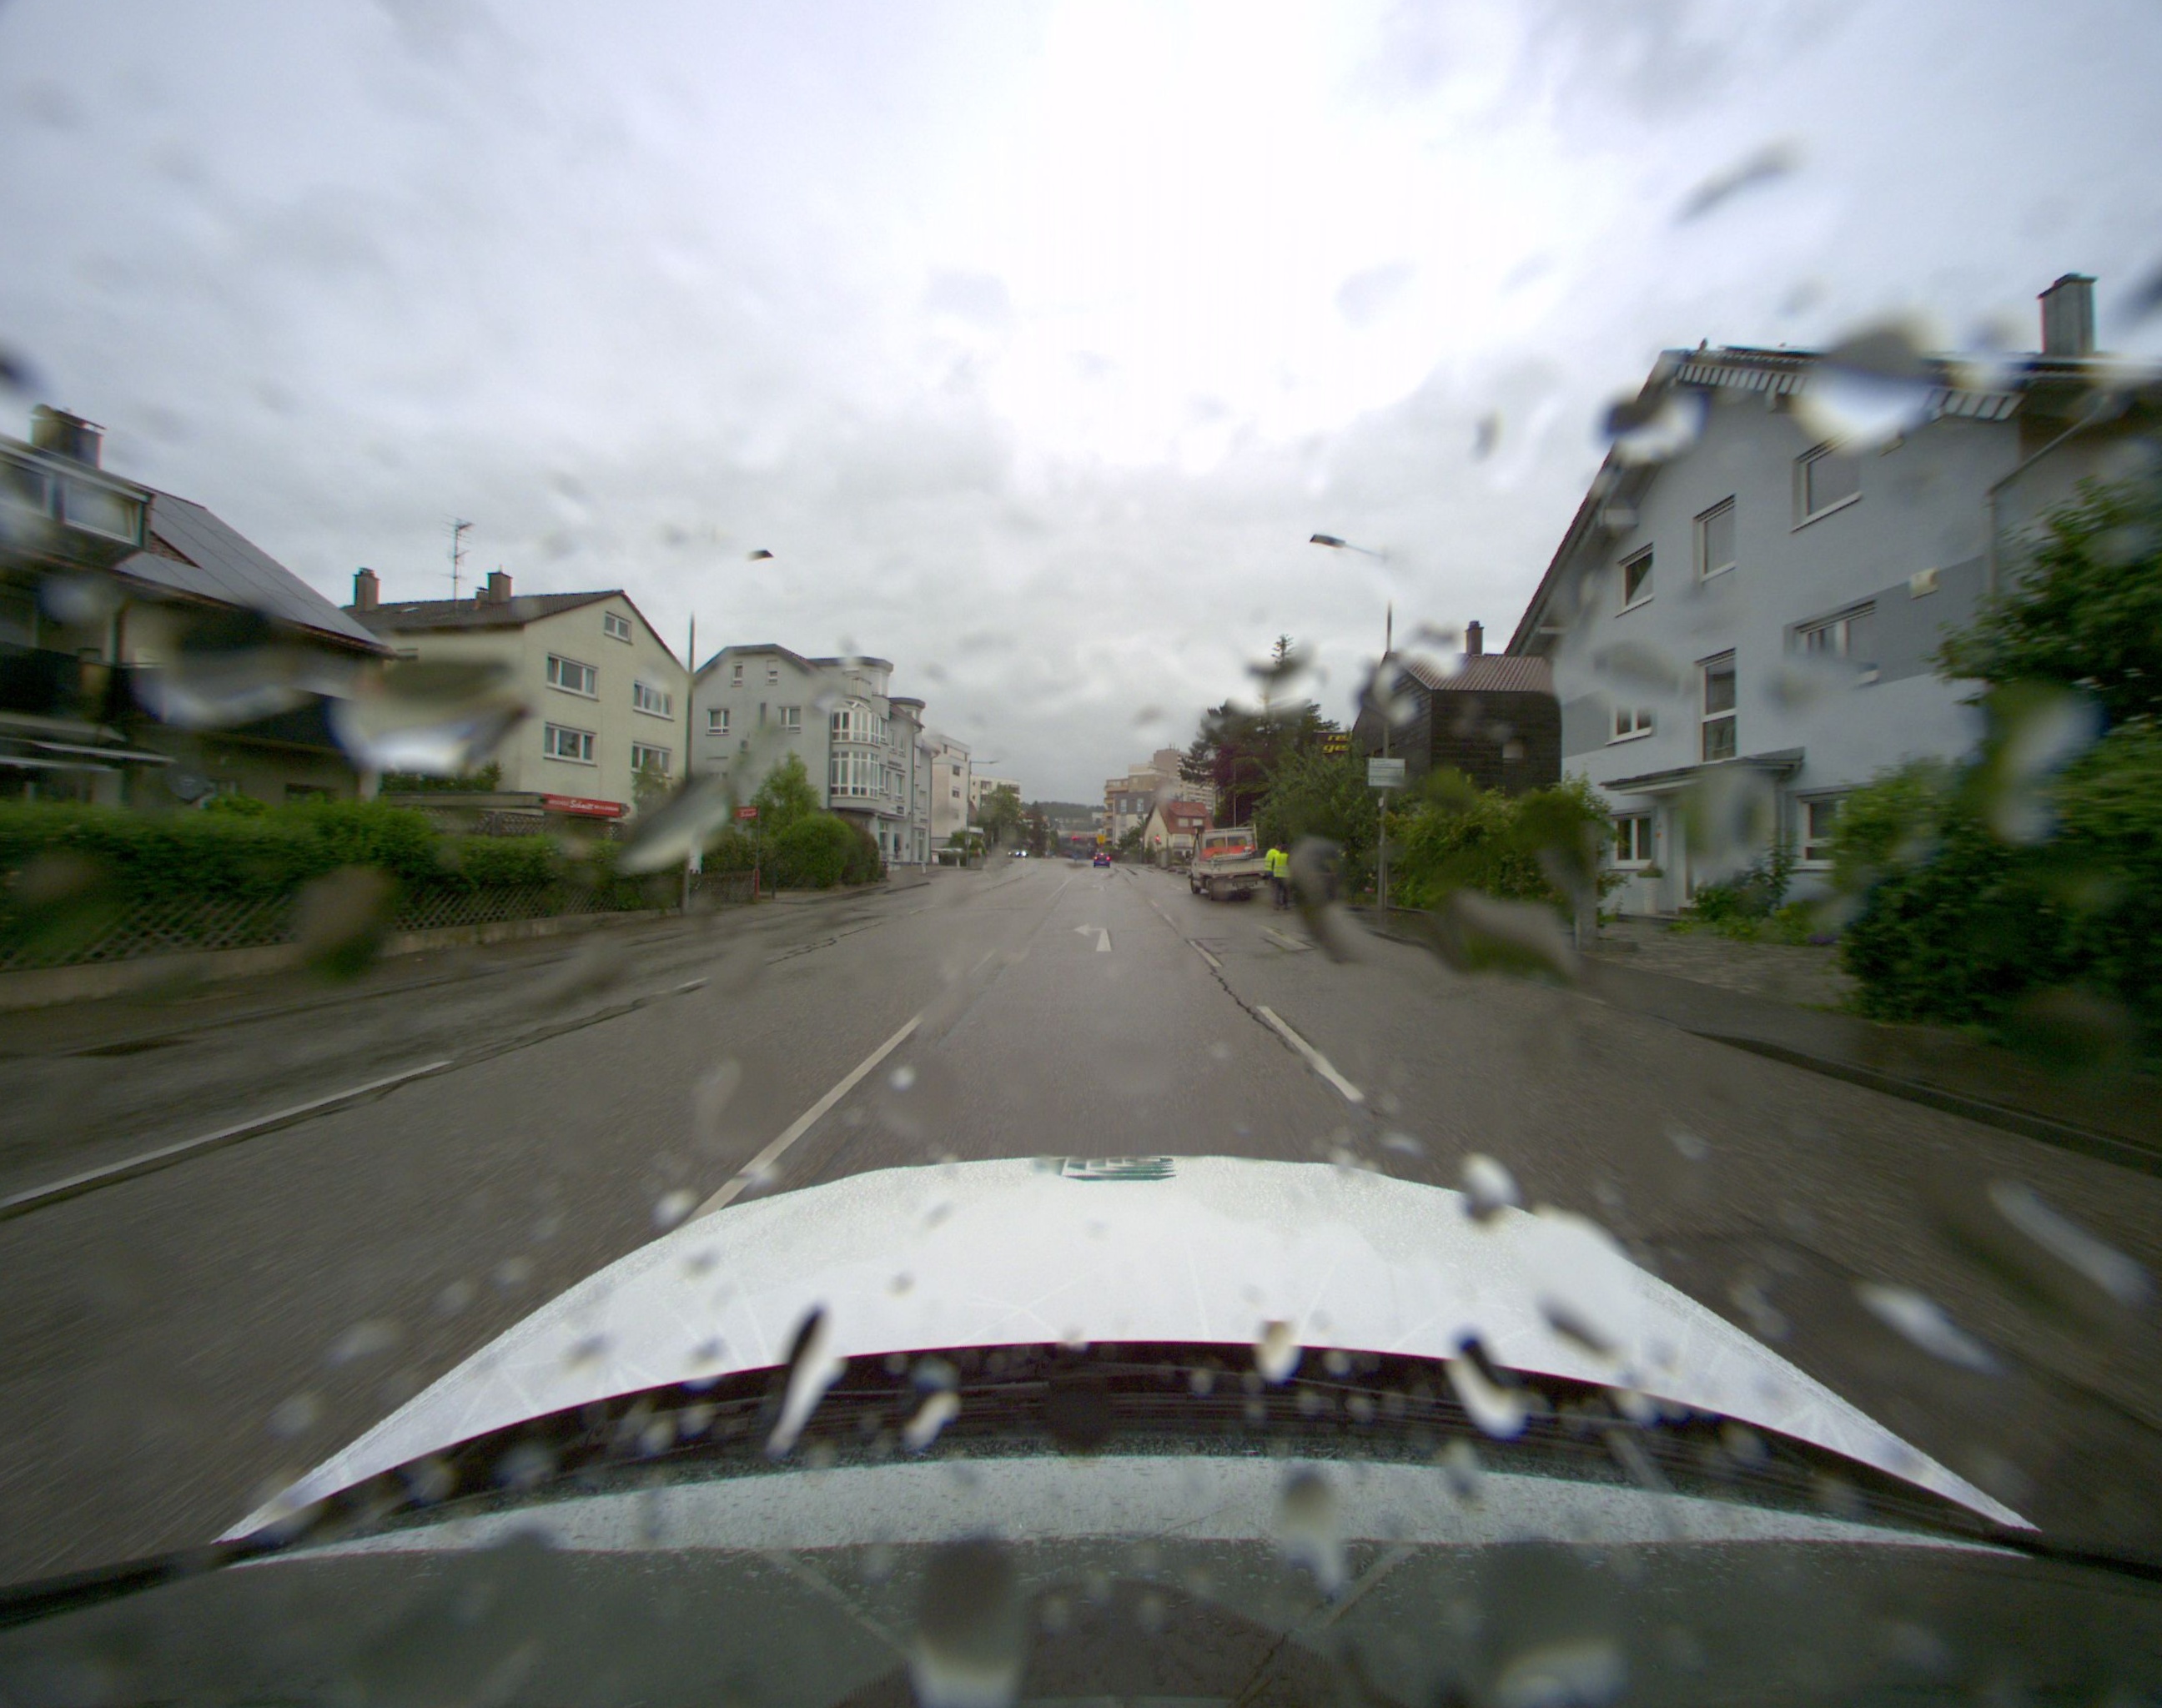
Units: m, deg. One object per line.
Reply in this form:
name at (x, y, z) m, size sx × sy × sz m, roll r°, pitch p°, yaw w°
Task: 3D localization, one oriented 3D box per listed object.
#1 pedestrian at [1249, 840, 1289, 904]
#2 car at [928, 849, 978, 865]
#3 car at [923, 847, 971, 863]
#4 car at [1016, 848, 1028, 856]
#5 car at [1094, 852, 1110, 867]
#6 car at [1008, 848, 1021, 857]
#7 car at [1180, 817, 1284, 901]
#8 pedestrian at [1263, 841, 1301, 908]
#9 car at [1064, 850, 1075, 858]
pedestrian at (5.132, 0.475, 22.252) m, size 0.709 × 1.707 × 0.889 m, roll -2°, pitch 0°, yaw -10°
car at (-11.883, 0.262, 75.792) m, size 4.197 × 1.474 × 1.908 m, roll 0°, pitch 0°, yaw 7°
car at (-13.684, 0.091, 83.366) m, size 4.422 × 1.637 × 1.945 m, roll 0°, pitch 0°, yaw 11°
car at (-10.619, -0.312, 146.558) m, size 1.709 × 1.387 × 4.021 m, roll 1°, pitch 0°, yaw 1°
car at (2.113, 0.516, 81.353) m, size 1.573 × 1.410 × 3.271 m, roll 1°, pitch 0°, yaw 2°
car at (-11.377, -0.242, 139.425) m, size 1.772 × 1.420 × 3.832 m, roll 1°, pitch 0°, yaw 1°
car at (4.826, 0.140, 27.199) m, size 2.383 × 2.432 × 6.434 m, roll -1°, pitch 0°, yaw 1°
pedestrian at (5.233, 0.519, 21.228) m, size 0.575 × 1.663 × 0.941 m, roll -2°, pitch 0°, yaw -10°
car at (-2.146, 0.070, 155.031) m, size 1.806 × 1.486 × 4.191 m, roll 0°, pitch 0°, yaw 2°
